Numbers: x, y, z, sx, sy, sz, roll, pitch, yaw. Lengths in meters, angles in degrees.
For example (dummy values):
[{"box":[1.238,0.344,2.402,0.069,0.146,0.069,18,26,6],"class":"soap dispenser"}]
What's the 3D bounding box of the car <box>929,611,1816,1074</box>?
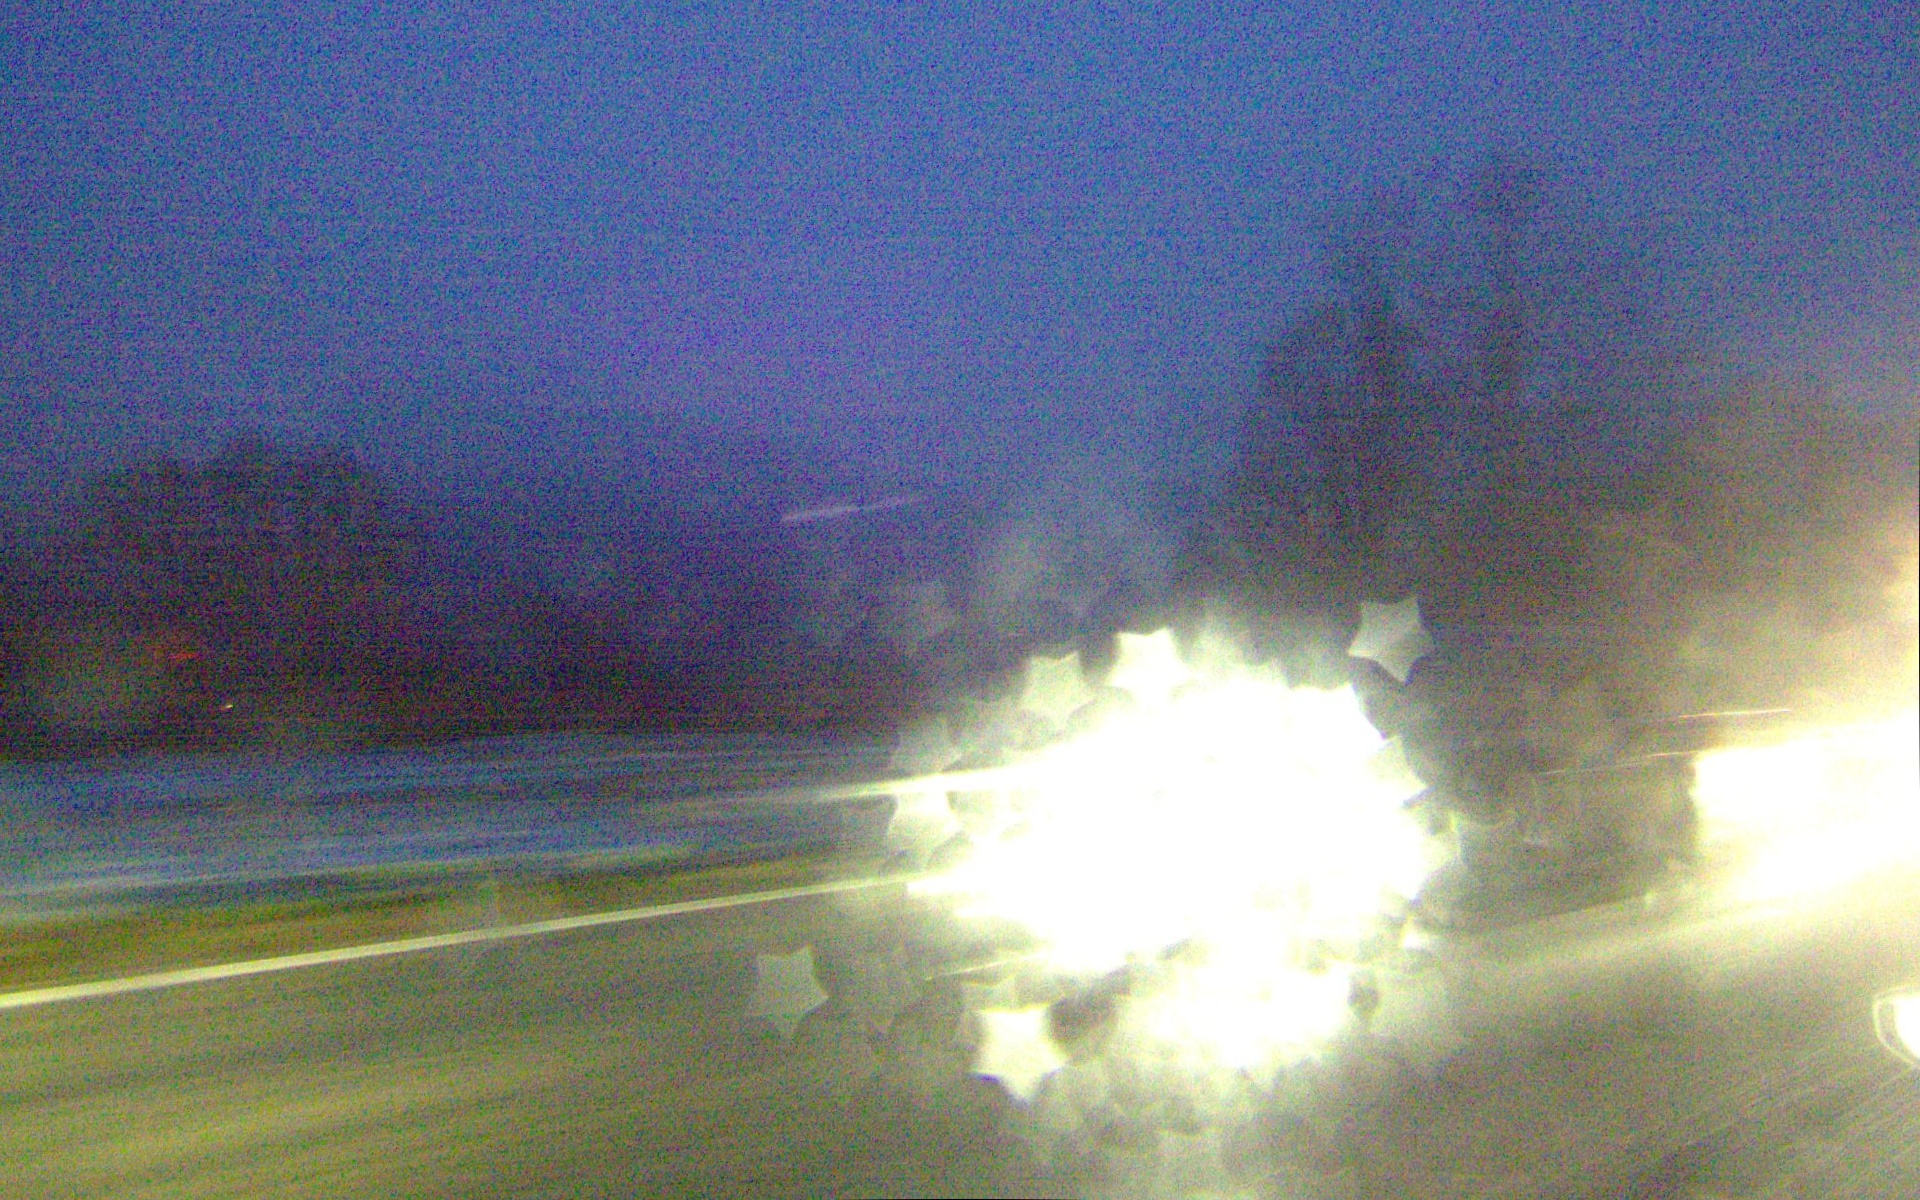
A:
[{"box":[2.207,0.798,5.028,4.433,1.424,1.748,1,0,-29],"class":"car"}]
